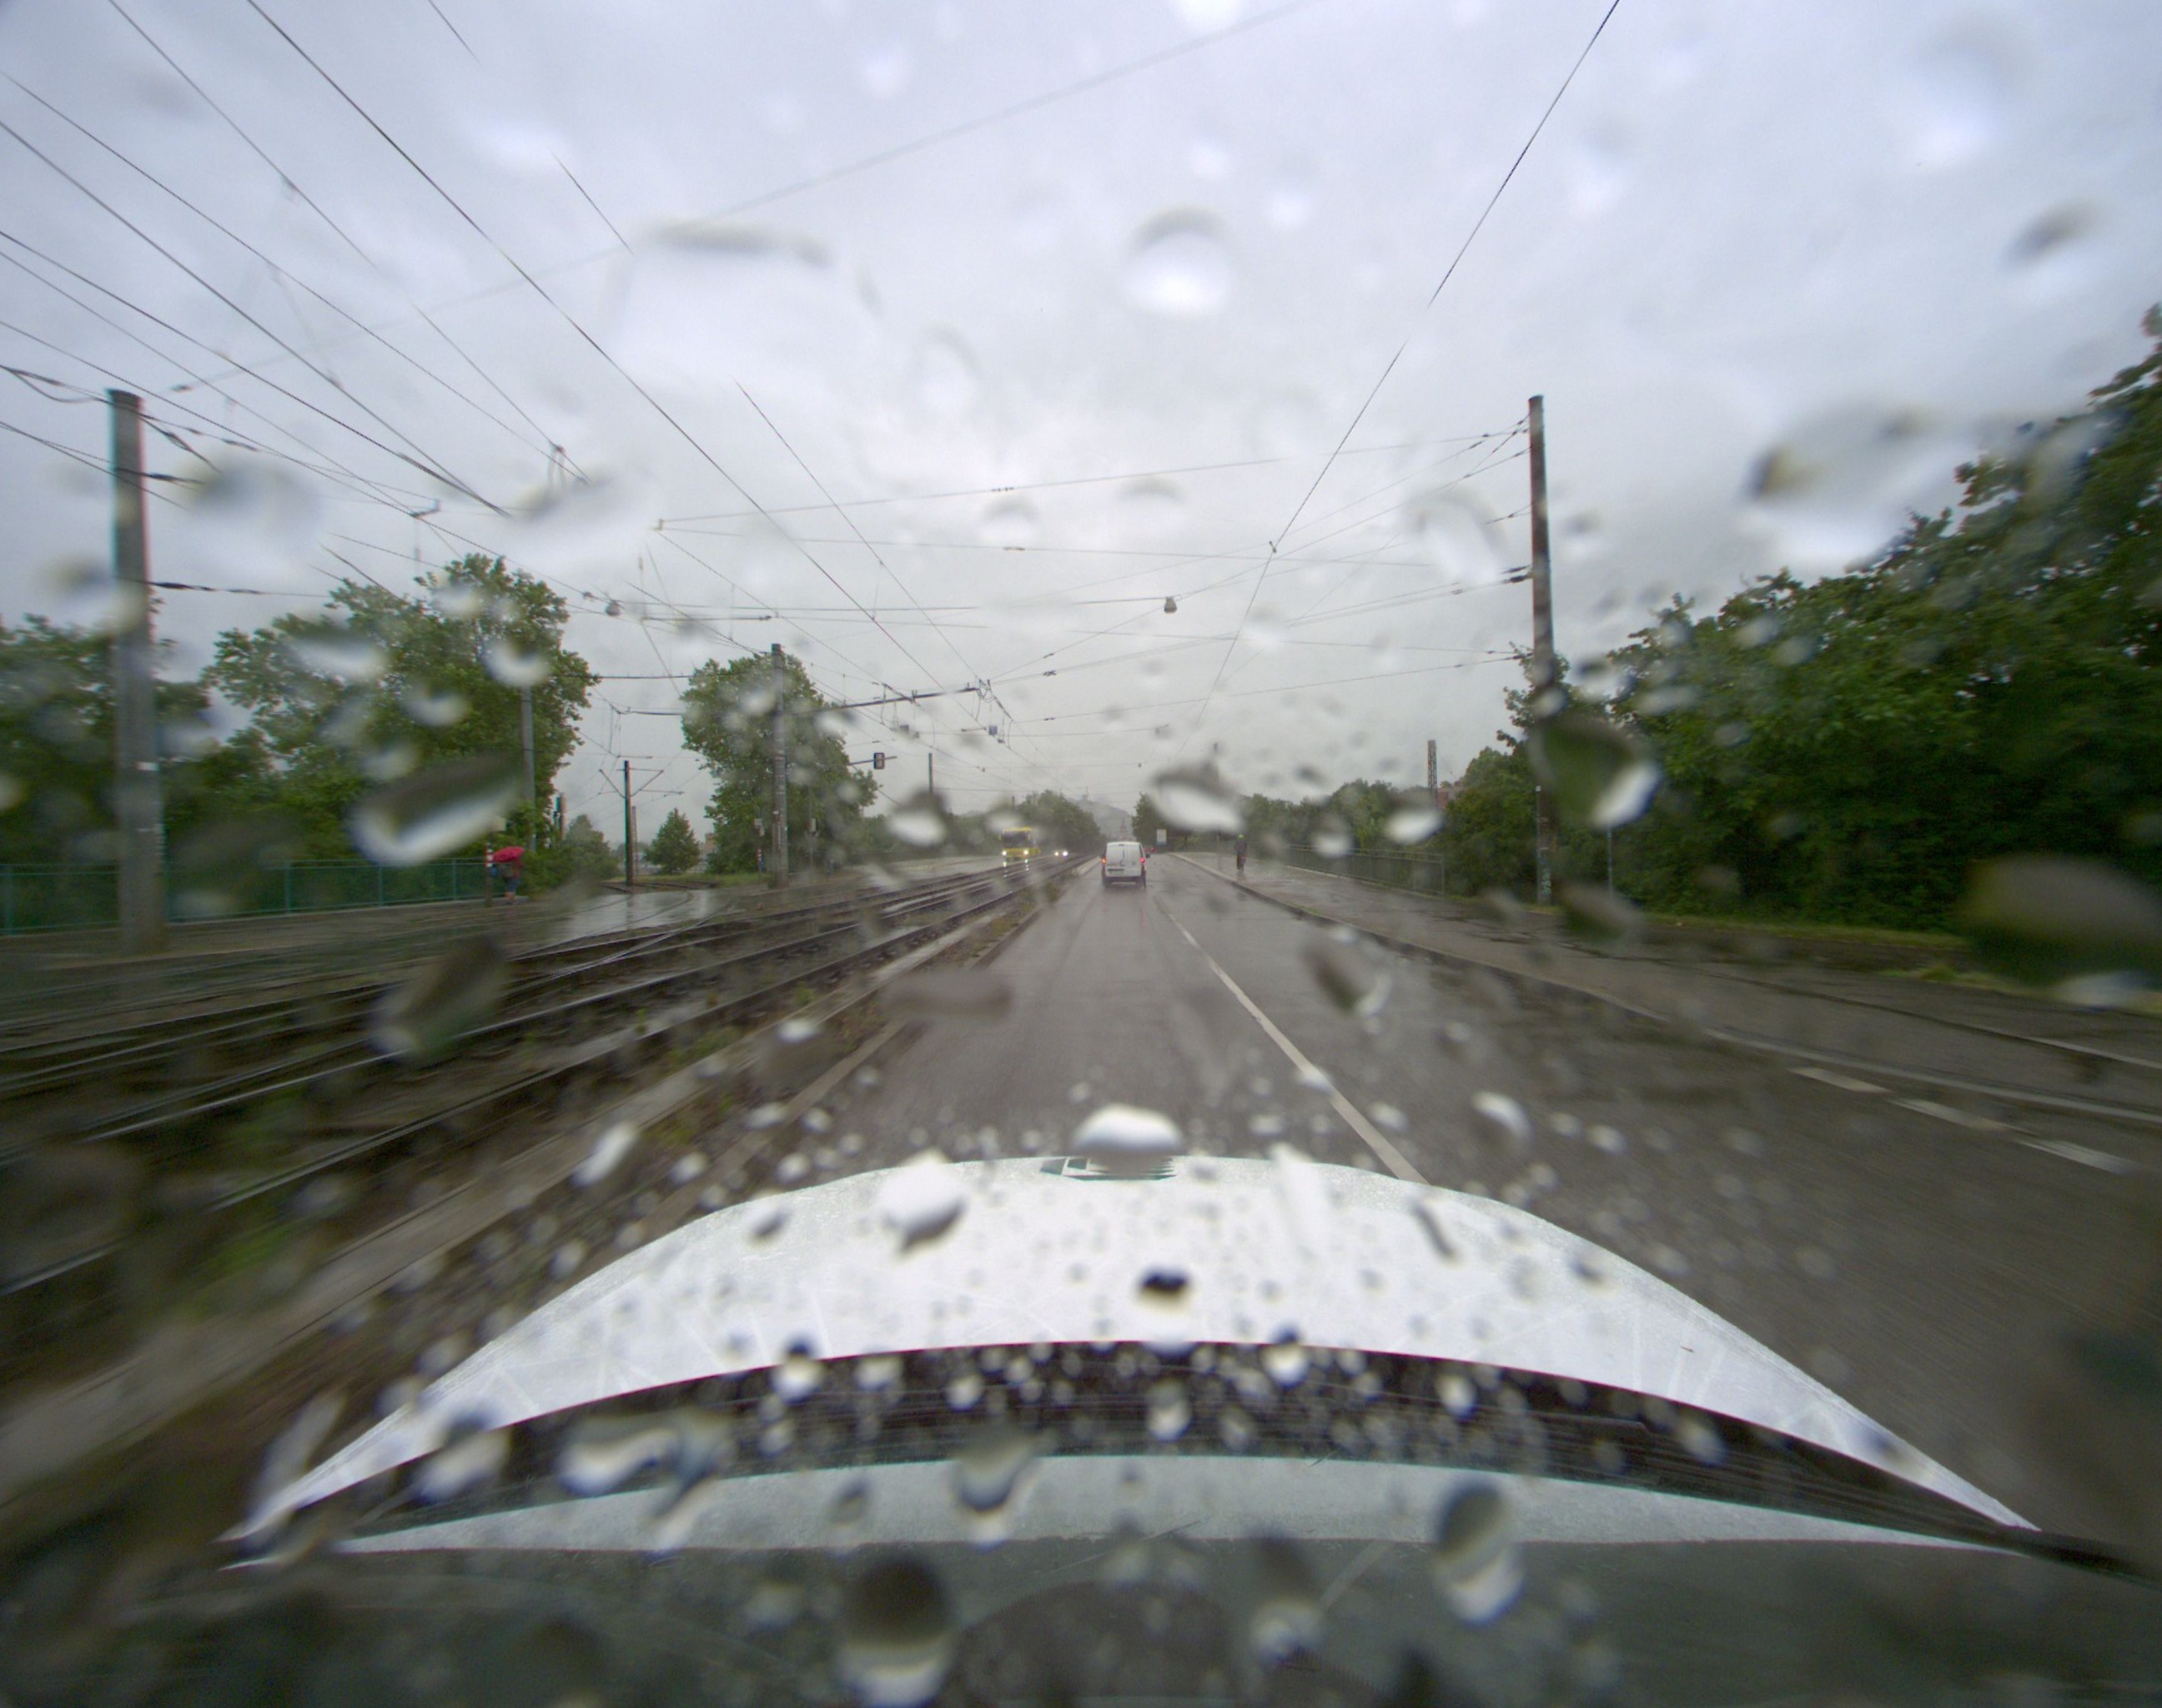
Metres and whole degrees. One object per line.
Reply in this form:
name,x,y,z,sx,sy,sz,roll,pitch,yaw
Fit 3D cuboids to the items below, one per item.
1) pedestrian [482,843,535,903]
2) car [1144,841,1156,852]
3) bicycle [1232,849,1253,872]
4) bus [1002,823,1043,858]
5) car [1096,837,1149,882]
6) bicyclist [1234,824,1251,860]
pedestrian,-17.889,0.586,25.469,0.861,1.819,1.043,0,-1,1
car,10.200,-1.131,120.951,1.446,1.499,2.981,0,0,-1
bicycle,8.030,0.313,40.556,0.720,1.129,2.170,0,1,4
bus,-5.951,-1.540,85.107,2.697,3.340,11.005,-3,2,3
car,1.761,0.216,33.305,1.984,1.726,4.006,0,0,6
bicyclist,8.036,-0.593,40.534,0.722,1.764,0.950,0,-1,4
